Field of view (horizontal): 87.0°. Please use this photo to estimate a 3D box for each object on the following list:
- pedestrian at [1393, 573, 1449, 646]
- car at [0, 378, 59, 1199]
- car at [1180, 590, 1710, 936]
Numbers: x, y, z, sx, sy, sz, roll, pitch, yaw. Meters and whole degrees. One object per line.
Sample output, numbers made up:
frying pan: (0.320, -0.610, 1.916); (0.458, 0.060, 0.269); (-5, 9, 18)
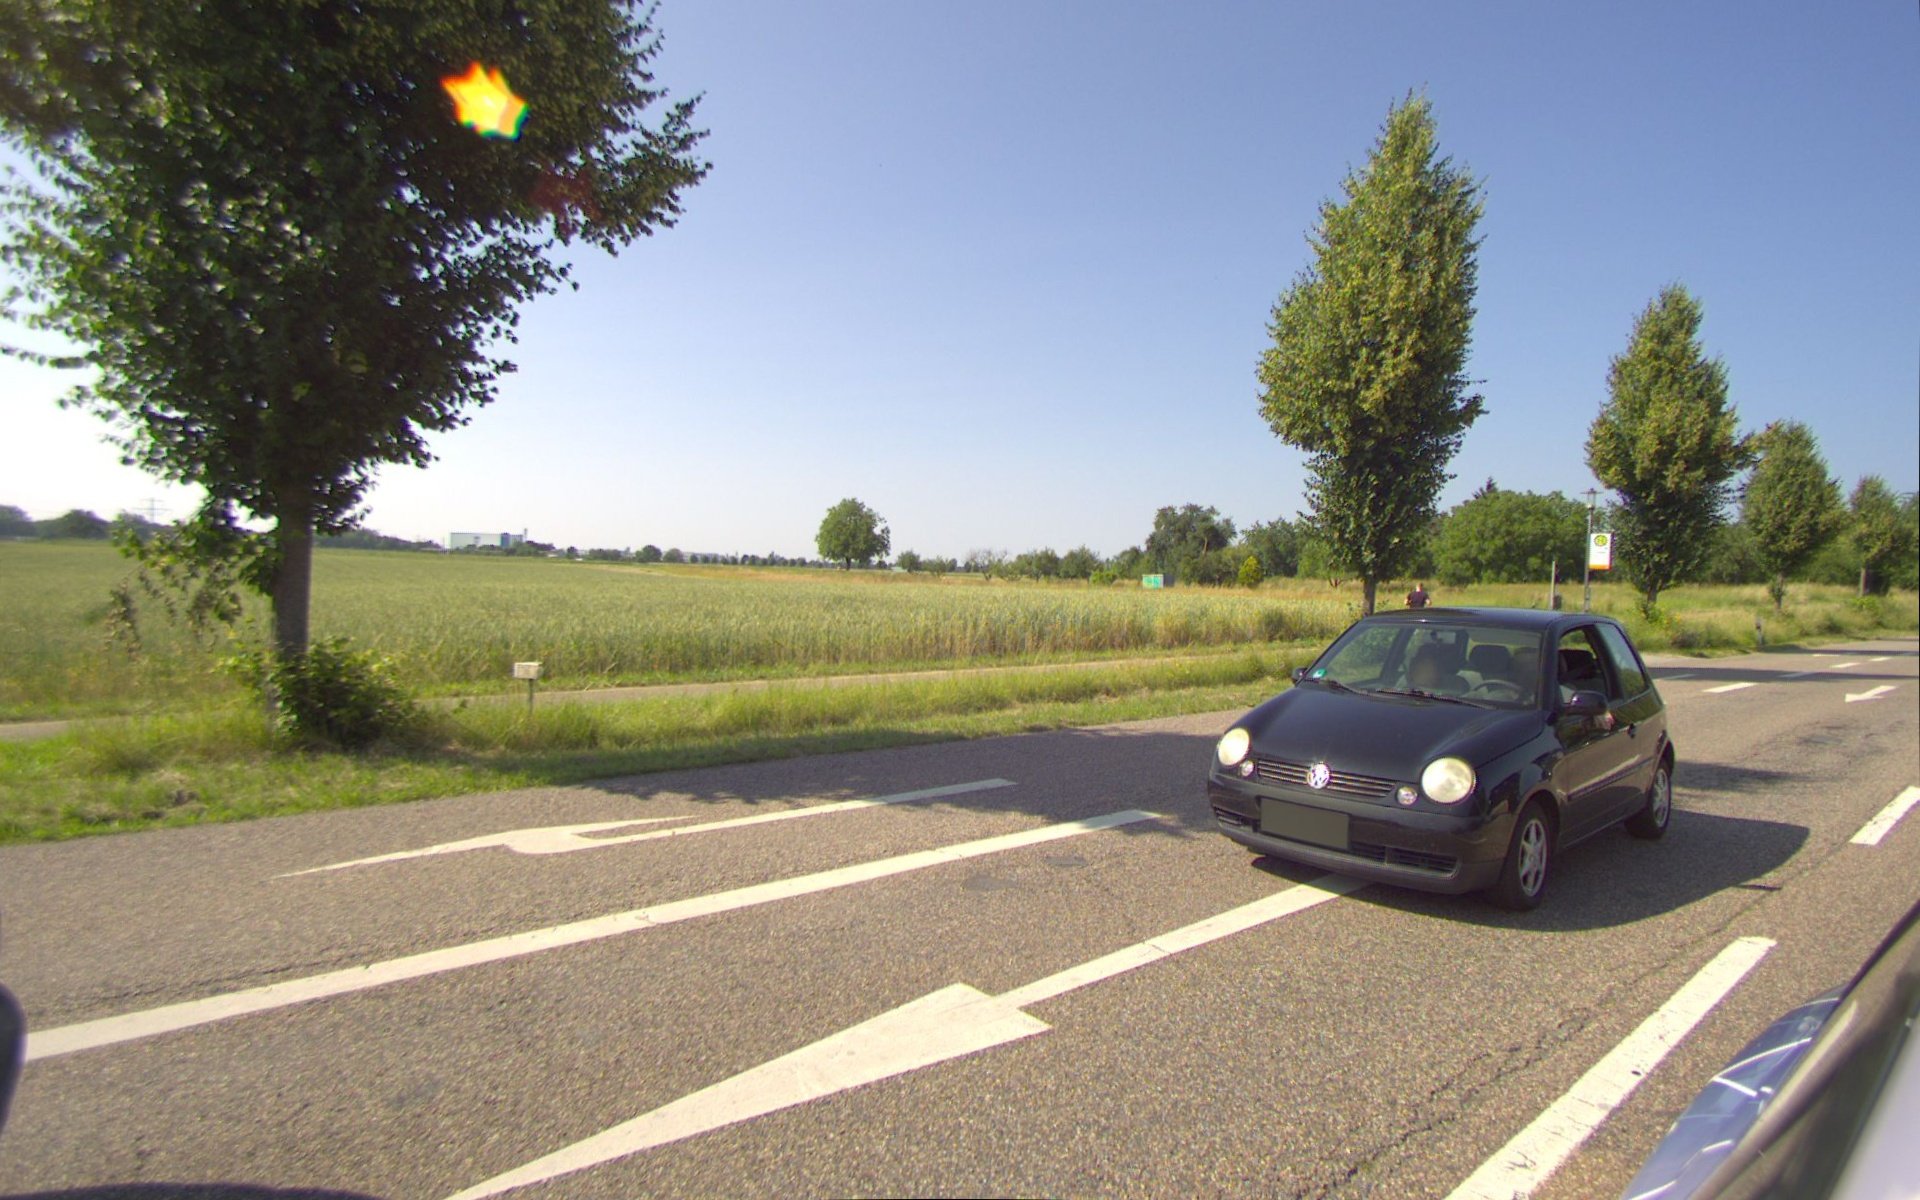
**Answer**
pedestrian: (12.102, 0.232, 26.571); (1.174, 1.862, 0.903); (1, 1, -43)
car: (-3.323, 0.548, 0.639); (4.074, 1.676, 1.758); (0, 0, -42)
car: (3.062, 0.684, 6.074); (3.560, 1.451, 1.628); (0, 0, -42)
